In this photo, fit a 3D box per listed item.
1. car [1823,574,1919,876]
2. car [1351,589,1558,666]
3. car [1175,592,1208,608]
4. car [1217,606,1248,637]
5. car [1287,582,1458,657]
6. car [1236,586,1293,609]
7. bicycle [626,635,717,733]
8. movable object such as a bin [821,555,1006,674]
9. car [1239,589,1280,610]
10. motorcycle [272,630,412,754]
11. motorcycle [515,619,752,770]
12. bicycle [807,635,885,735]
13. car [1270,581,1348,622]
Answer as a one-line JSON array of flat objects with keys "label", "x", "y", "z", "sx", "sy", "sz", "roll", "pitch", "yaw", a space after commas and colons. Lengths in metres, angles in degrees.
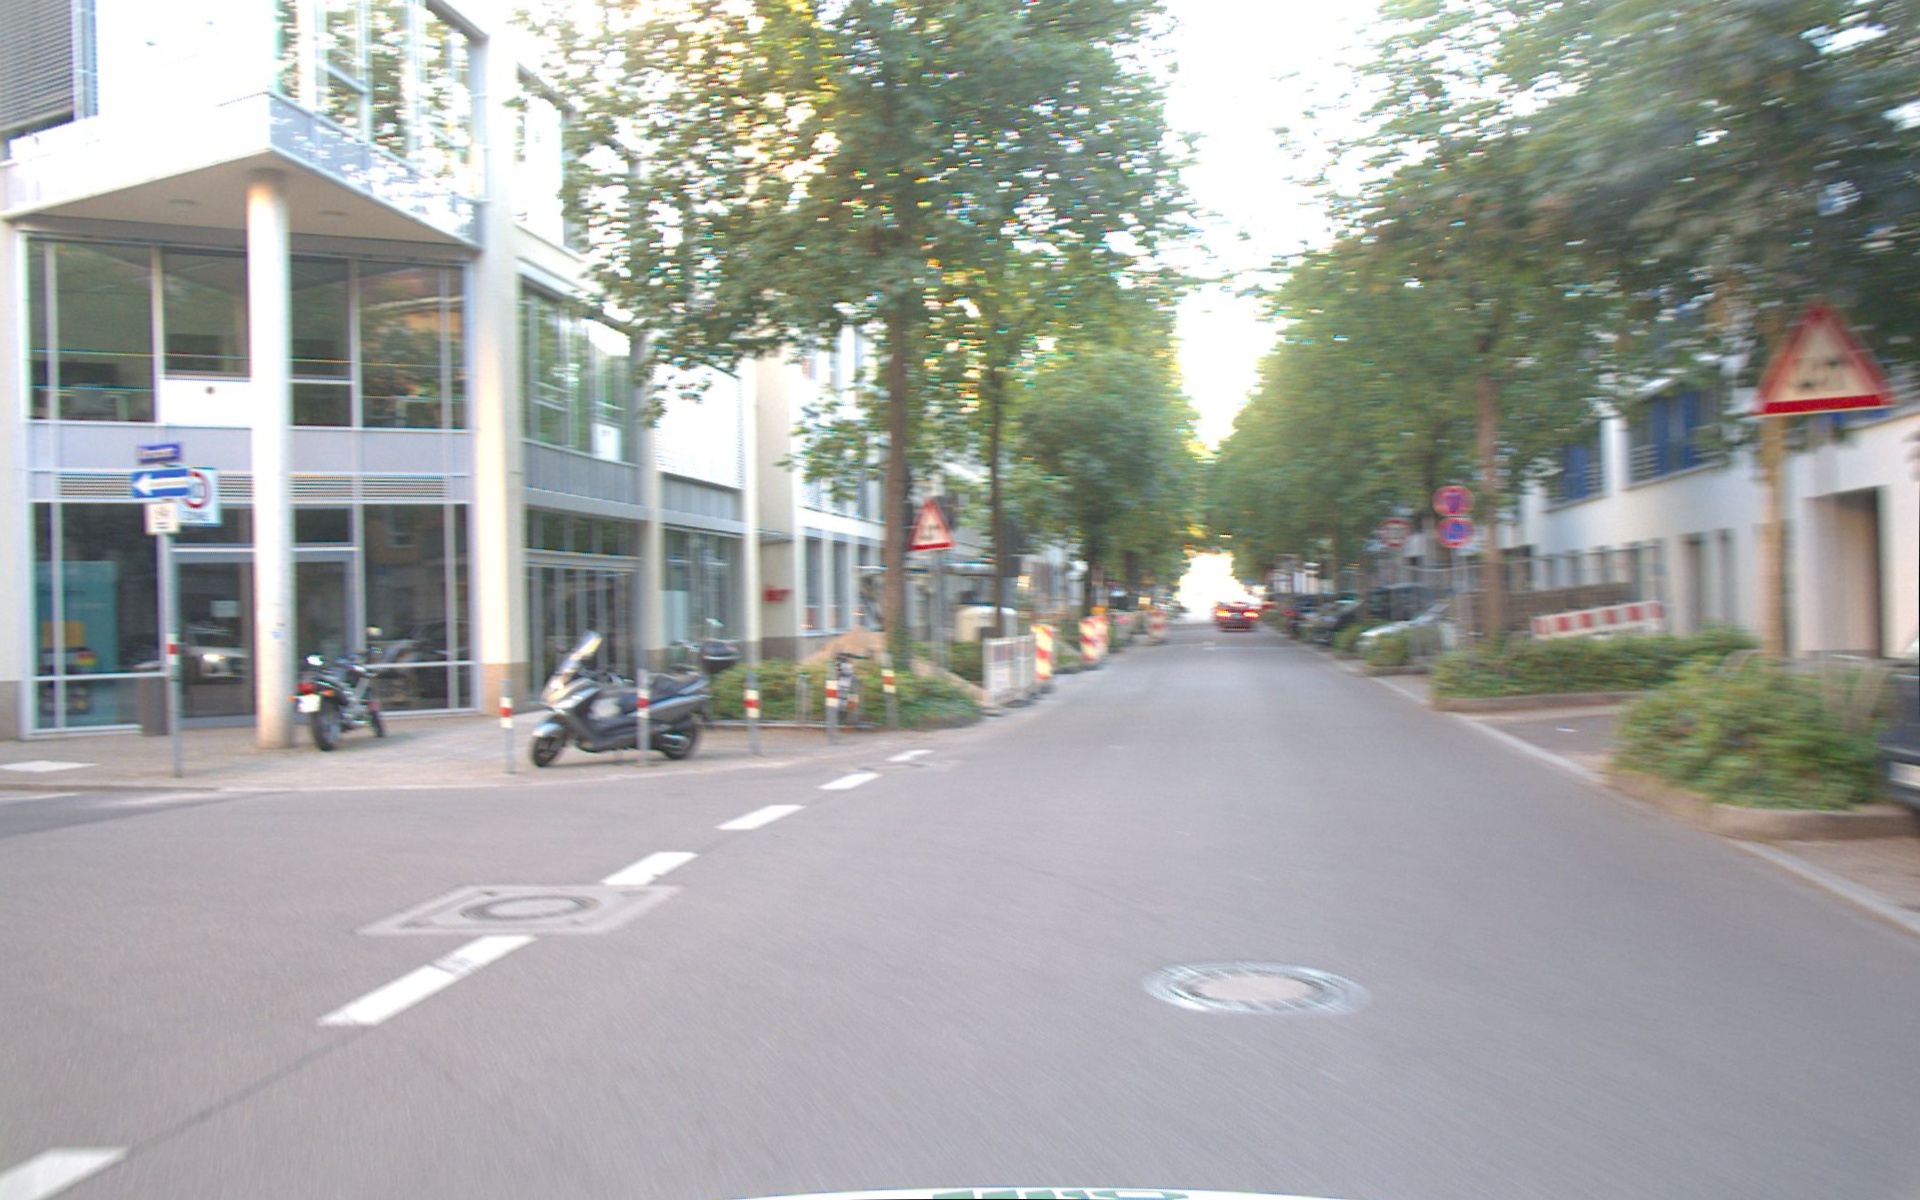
[{"label": "car", "x": 6.610, "y": 0.554, "z": 8.626, "sx": 3.279, "sy": 1.552, "sz": 1.747, "roll": -4, "pitch": 0, "yaw": 9}, {"label": "car", "x": 11.291, "y": 0.630, "z": 38.016, "sx": 4.342, "sy": 1.619, "sz": 1.630, "roll": -2, "pitch": 0, "yaw": 10}, {"label": "car", "x": 28.930, "y": -0.015, "z": 206.851, "sx": 3.905, "sy": 1.948, "sz": 1.777, "roll": -1, "pitch": 0, "yaw": 0}, {"label": "car", "x": 13.899, "y": 1.083, "z": 84.509, "sx": 1.468, "sy": 1.441, "sz": 3.716, "roll": -2, "pitch": 0, "yaw": 8}, {"label": "car", "x": 12.472, "y": 0.593, "z": 50.262, "sx": 4.866, "sy": 2.124, "sz": 1.739, "roll": -2, "pitch": 0, "yaw": 8}, {"label": "car", "x": 22.329, "y": -0.174, "z": 121.363, "sx": 3.903, "sy": 1.625, "sz": 2.001, "roll": -1, "pitch": 0, "yaw": 5}, {"label": "bicycle", "x": -3.700, "y": 1.059, "z": 21.331, "sx": 0.588, "sy": 1.137, "sz": 1.801, "roll": -2, "pitch": 1, "yaw": 8}, {"label": "movable object such as a bin", "x": -0.942, "y": 0.301, "z": 35.605, "sx": 3.587, "sy": 2.373, "sz": 2.585, "roll": -2, "pitch": 0, "yaw": 6}, {"label": "car", "x": 29.838, "y": -0.044, "z": 164.773, "sx": 3.902, "sy": 2.049, "sz": 2.002, "roll": -2, "pitch": 0, "yaw": 10}, {"label": "motorcycle", "x": -7.321, "y": 1.059, "z": 19.709, "sx": 0.601, "sy": 1.296, "sz": 2.128, "roll": -1, "pitch": 1, "yaw": 7}, {"label": "motorcycle", "x": -3.474, "y": 0.970, "z": 17.702, "sx": 2.349, "sy": 1.466, "sz": 0.793, "roll": -1, "pitch": 0, "yaw": -32}, {"label": "bicycle", "x": -1.428, "y": 1.054, "z": 21.012, "sx": 0.588, "sy": 1.137, "sz": 1.801, "roll": -2, "pitch": 1, "yaw": 8}, {"label": "car", "x": 18.651, "y": 0.061, "z": 88.600, "sx": 3.902, "sy": 2.049, "sz": 2.002, "roll": -2, "pitch": 0, "yaw": 7}]
